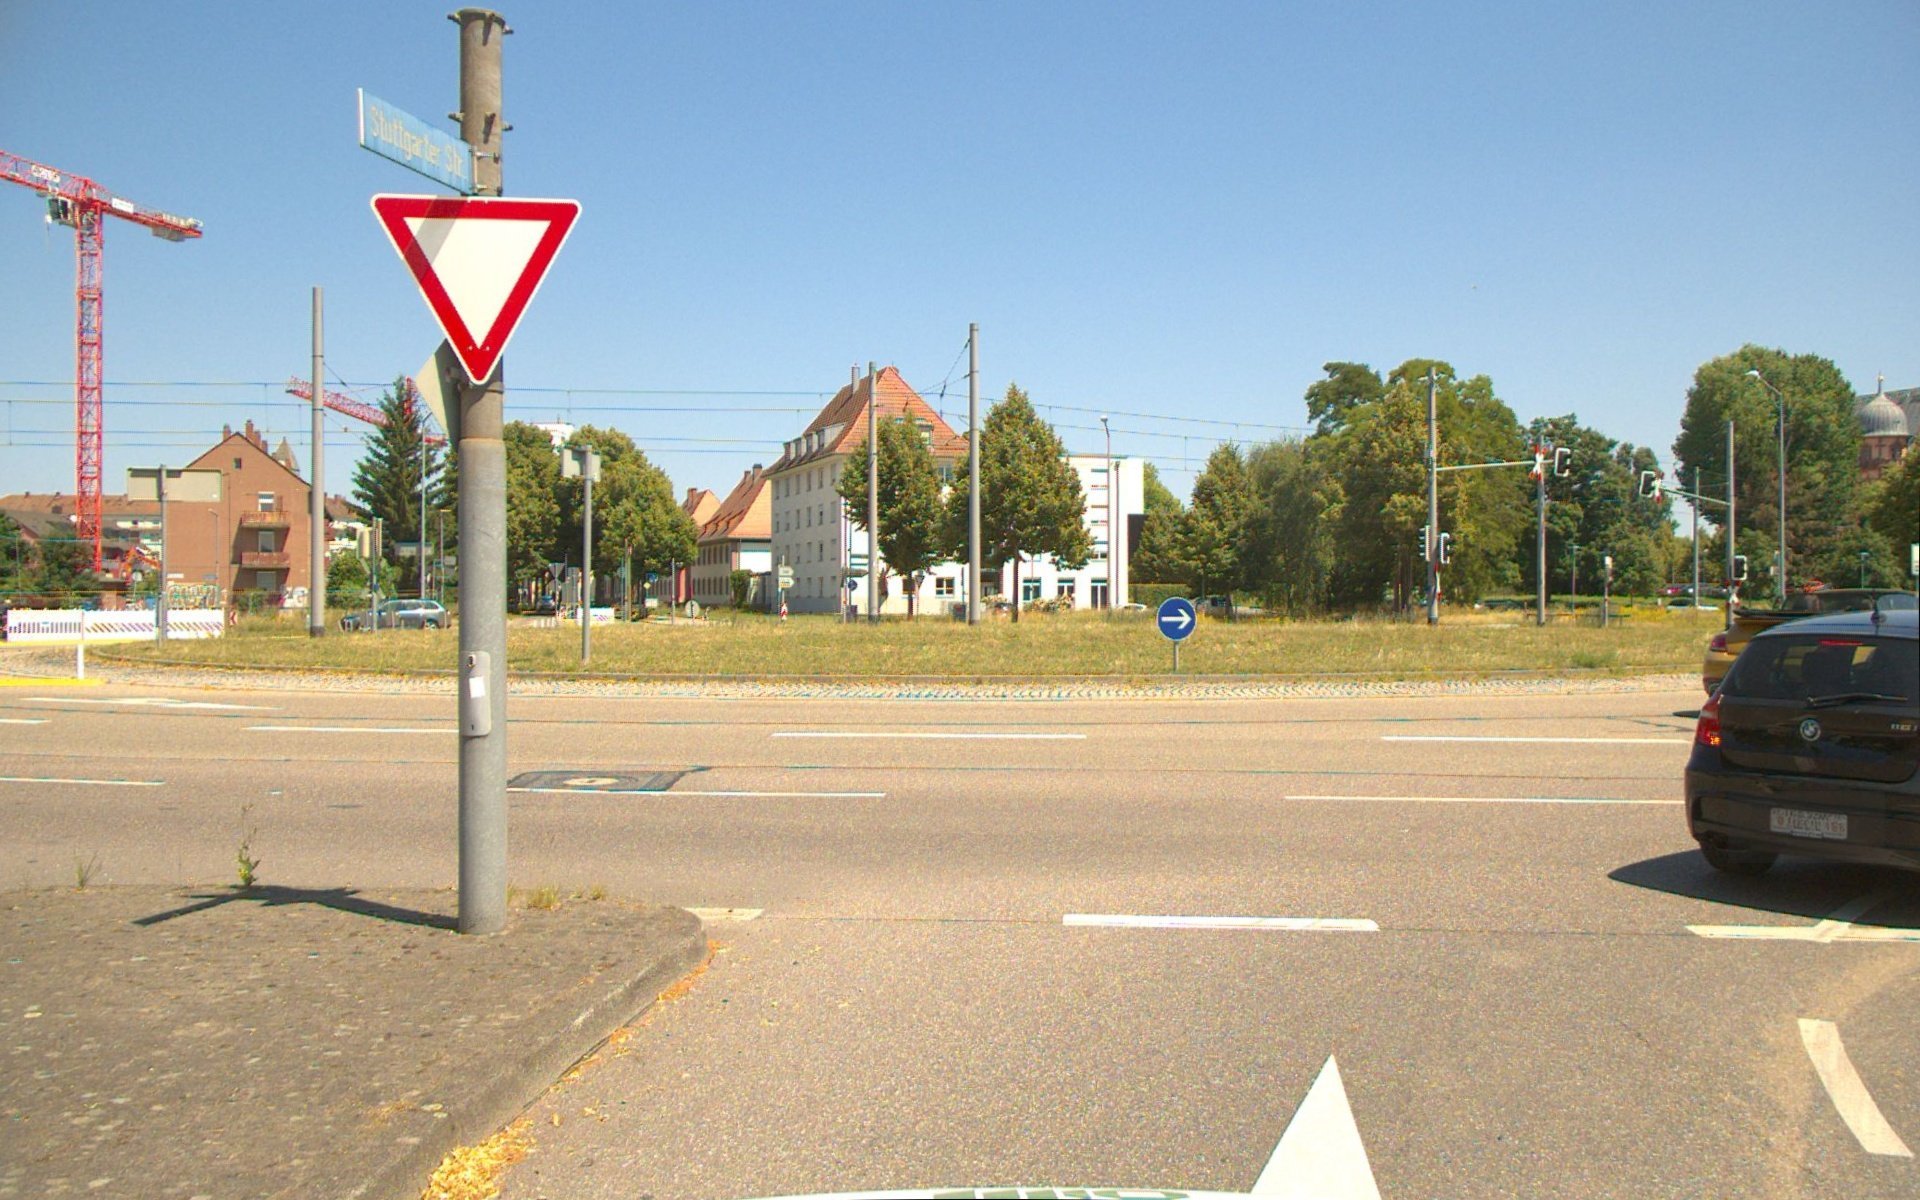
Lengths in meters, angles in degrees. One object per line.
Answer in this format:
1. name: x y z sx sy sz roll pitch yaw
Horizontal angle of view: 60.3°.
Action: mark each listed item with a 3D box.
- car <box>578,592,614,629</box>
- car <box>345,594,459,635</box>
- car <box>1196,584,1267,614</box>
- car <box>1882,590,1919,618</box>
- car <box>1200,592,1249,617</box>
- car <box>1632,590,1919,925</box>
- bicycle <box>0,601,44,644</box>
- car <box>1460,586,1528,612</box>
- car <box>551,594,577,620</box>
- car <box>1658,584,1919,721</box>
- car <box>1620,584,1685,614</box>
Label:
1. car: -21.297 0.603 96.631 1.959 2.049 3.986 2 0 -13
2. car: -21.951 0.574 65.085 3.947 1.490 1.979 2 -1 -32
3. car: 16.871 -0.046 102.775 3.918 1.713 1.993 2 -1 -13
4. car: 71.255 0.291 123.528 3.924 2.049 1.990 1 -1 39
5. car: 22.467 0.372 140.570 3.902 2.049 2.001 1 -1 14
6. car: 5.609 0.695 8.947 3.952 1.465 1.782 0 1 -34
7. bicycle: -37.914 0.897 66.277 0.548 1.714 2.079 1 -1 34
8. car: 35.702 -0.067 110.599 3.920 1.601 1.993 1 -1 36
9. car: -32.729 0.569 136.713 1.959 2.049 3.986 2 0 -13
10. car: 9.952 0.563 18.944 3.610 1.427 1.814 1 0 -30
11. car: 49.454 -0.072 118.159 3.924 2.049 1.990 1 -1 39
